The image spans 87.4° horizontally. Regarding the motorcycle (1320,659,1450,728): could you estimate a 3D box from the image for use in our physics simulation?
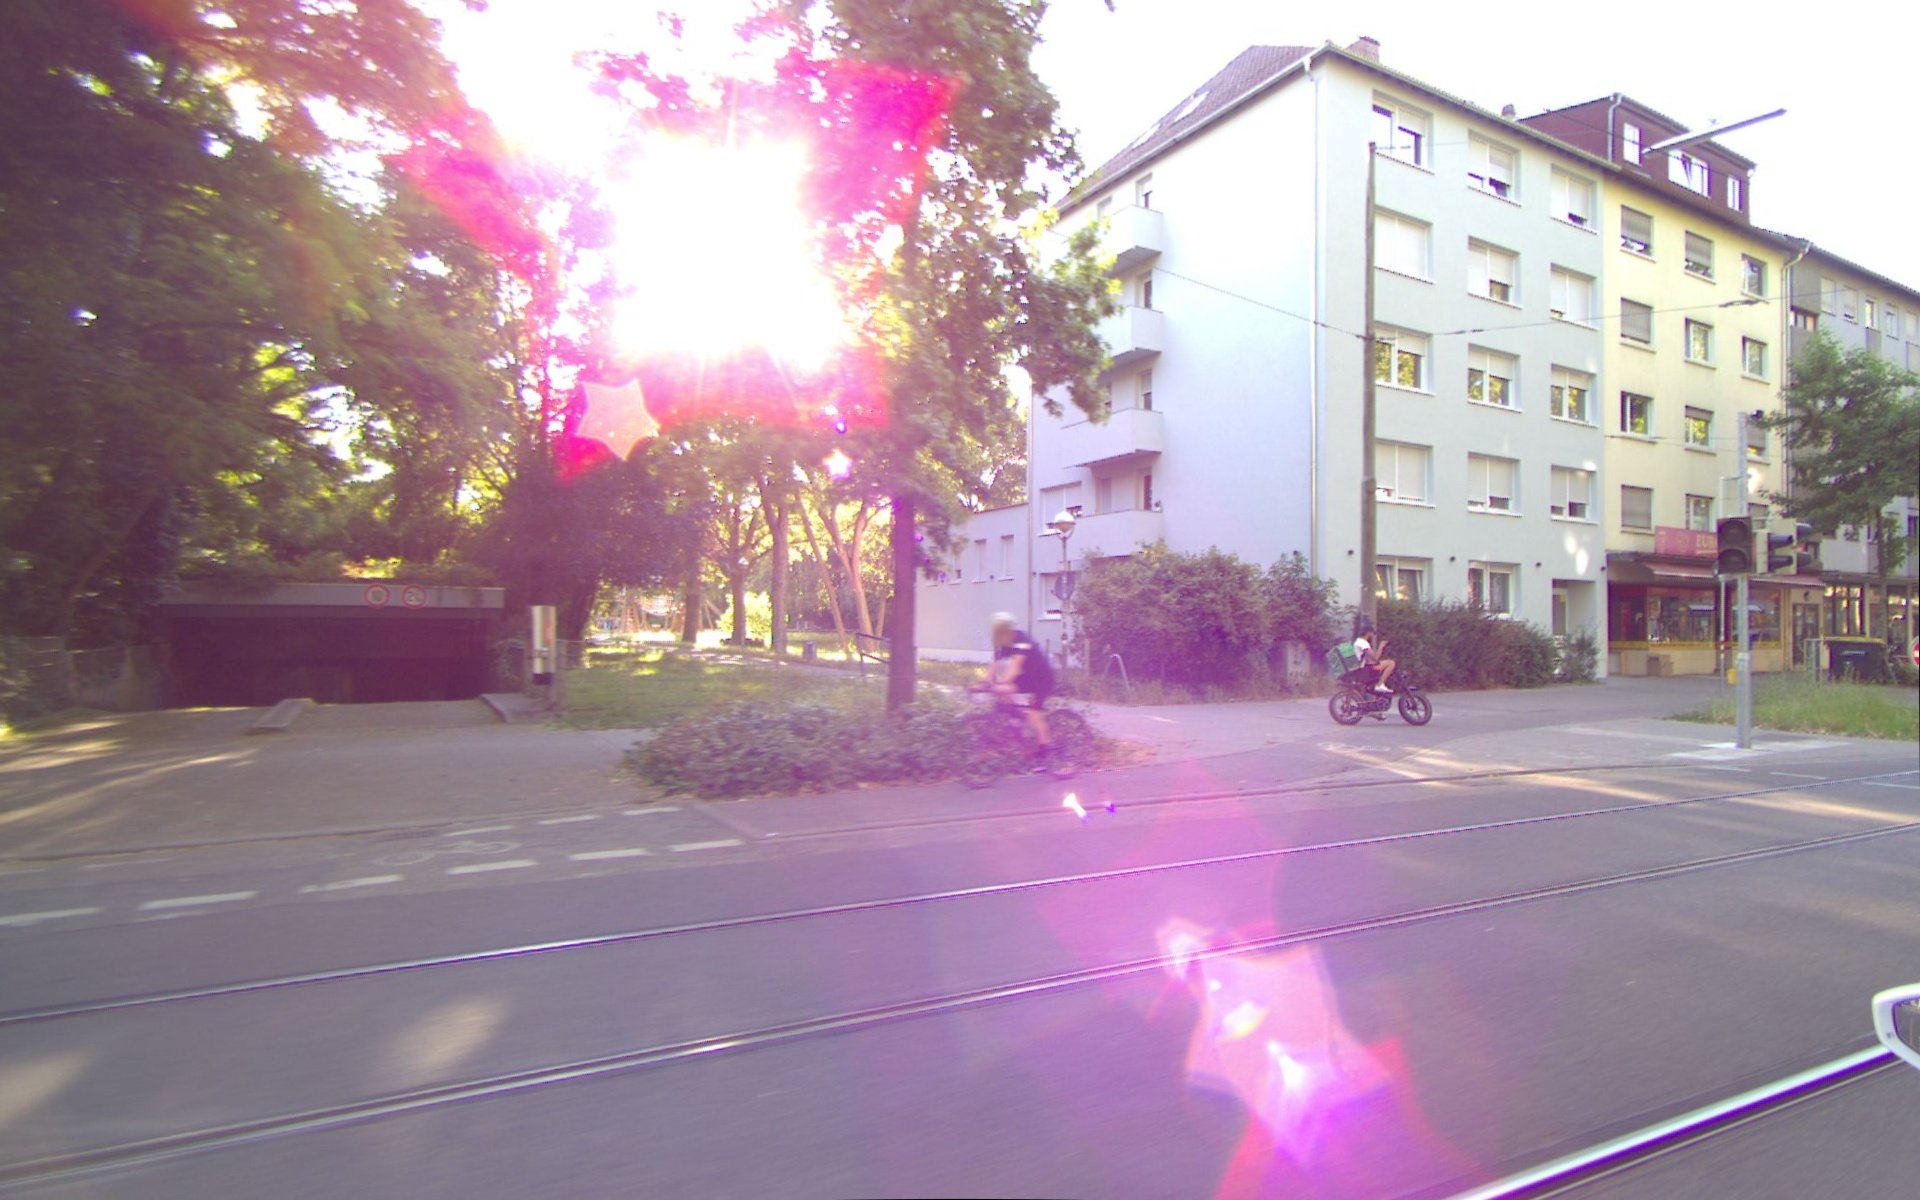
[{"bbox_3d":[6.836,1.503,16.219,1.839,1.046,0.597,0,-1,5],"label":"motorcycle"}]

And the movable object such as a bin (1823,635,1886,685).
[{"bbox_3d":[26.314,1.743,29.559,0.775,1.366,1.162,1,2,-33],"label":"movable object such as a bin"}]

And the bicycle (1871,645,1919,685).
[{"bbox_3d":[28.392,1.947,30.018,0.875,1.089,1.526,1,1,-30],"label":"bicycle"}]

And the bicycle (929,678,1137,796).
[{"bbox_3d":[0.754,1.313,9.974,2.076,1.000,0.638,1,-2,-31],"label":"bicycle"}]

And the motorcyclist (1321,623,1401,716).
[{"bbox_3d":[6.475,1.112,16.257,1.081,1.468,0.597,0,-1,5],"label":"motorcyclist"}]

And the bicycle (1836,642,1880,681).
[{"bbox_3d":[27.333,1.858,30.577,1.780,1.122,0.495,1,2,-33],"label":"bicycle"}]

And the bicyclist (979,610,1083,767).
[{"bbox_3d":[0.701,0.851,9.966,0.827,1.474,0.638,1,-2,-30],"label":"bicyclist"}]
